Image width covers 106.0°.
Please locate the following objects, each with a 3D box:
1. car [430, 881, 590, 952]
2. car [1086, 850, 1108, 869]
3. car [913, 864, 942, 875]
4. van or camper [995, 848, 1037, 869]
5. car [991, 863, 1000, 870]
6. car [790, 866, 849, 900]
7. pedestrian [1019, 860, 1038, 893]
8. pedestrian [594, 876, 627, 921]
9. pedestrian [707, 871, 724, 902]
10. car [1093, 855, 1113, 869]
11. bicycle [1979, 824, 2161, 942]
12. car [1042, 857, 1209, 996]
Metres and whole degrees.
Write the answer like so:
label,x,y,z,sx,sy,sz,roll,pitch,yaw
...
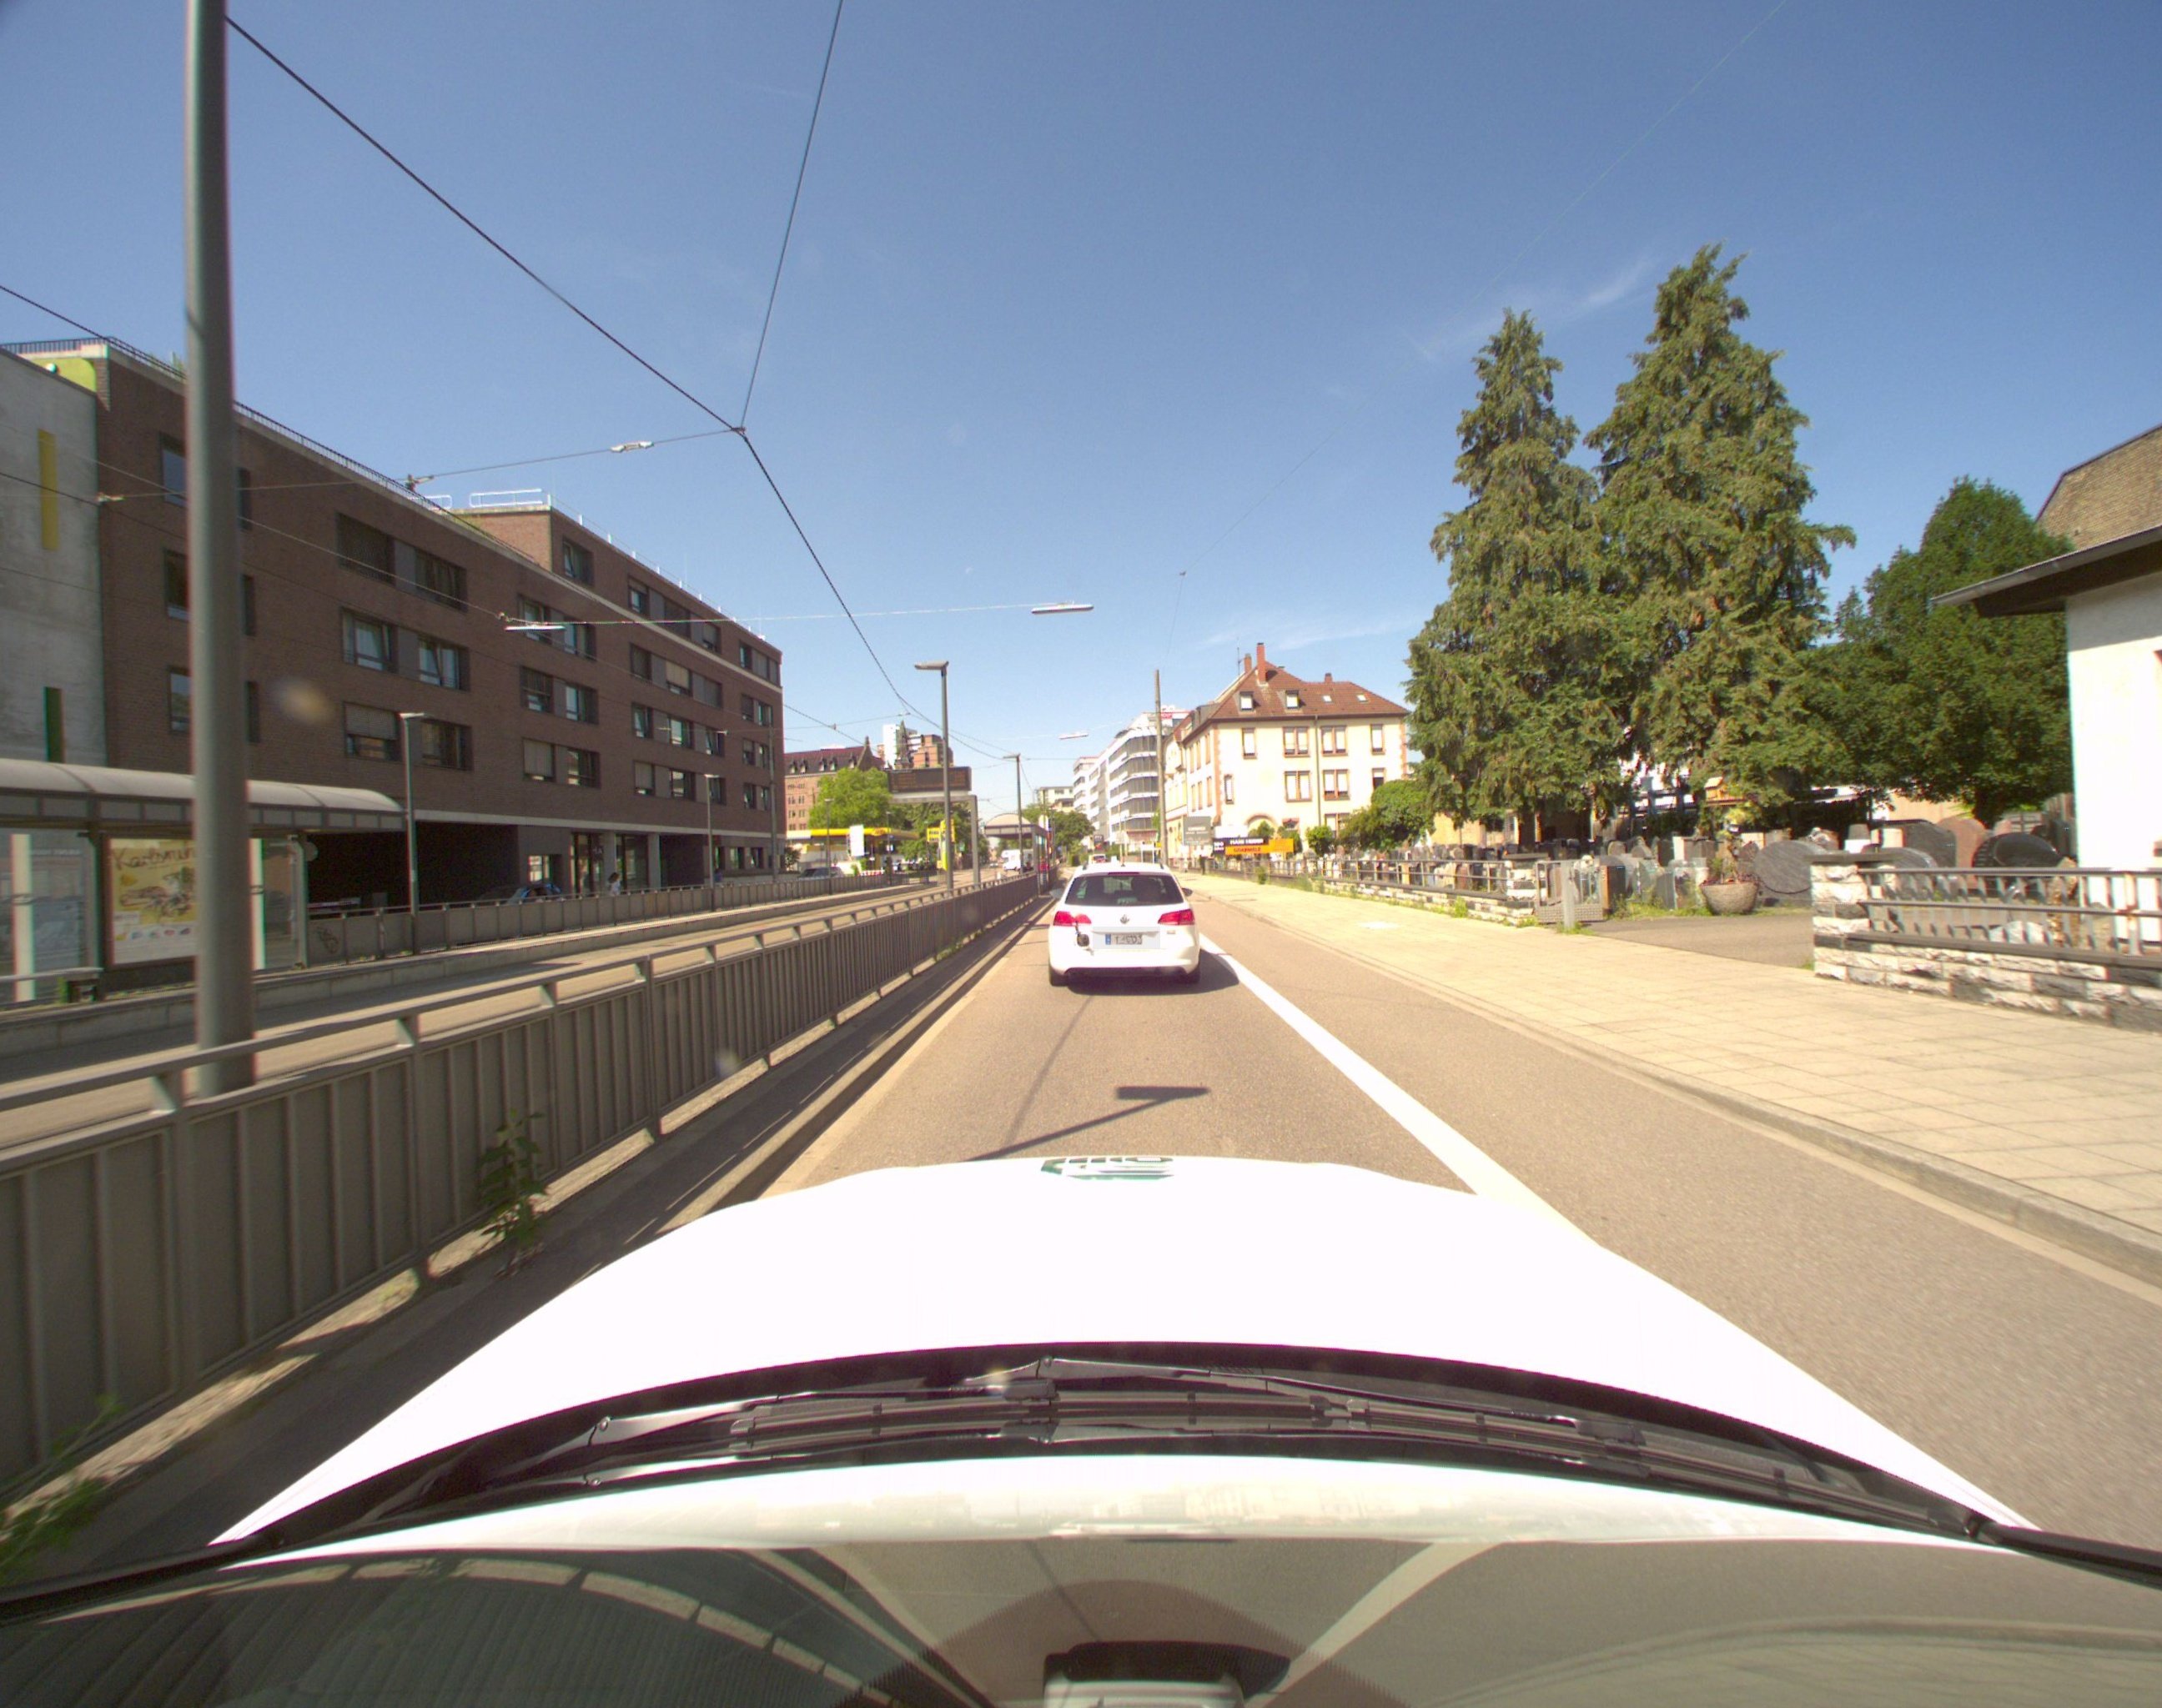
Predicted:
label,x,y,z,sx,sy,sz,roll,pitch,yaw
car,-15.255,1.615,21.999,1.705,1.622,3.580,-1,0,2
car,1.912,0.661,98.601,1.974,2.054,5.180,-4,0,-6
car,-25.190,2.535,133.905,1.924,1.625,4.608,-3,-1,38
van or camper,-9.194,0.655,114.818,2.628,2.967,6.637,1,-1,-38
car,-20.460,2.949,194.949,1.741,1.571,3.889,-3,-1,-1
car,-14.452,1.549,45.231,1.794,1.729,4.190,-1,0,2
pedestrian,-2.080,0.891,32.217,0.627,1.255,0.709,-3,0,0
pedestrian,-19.904,1.869,34.463,0.841,1.819,0.839,-2,-1,1
pedestrian,-20.195,1.779,44.977,0.579,1.664,0.699,-2,-1,0
car,2.468,0.903,92.336,1.719,1.443,4.303,-4,0,-6
bicycle,10.248,0.285,8.094,1.669,1.111,0.517,-3,0,26
car,0.498,0.771,10.835,1.748,1.442,4.413,-1,0,1
